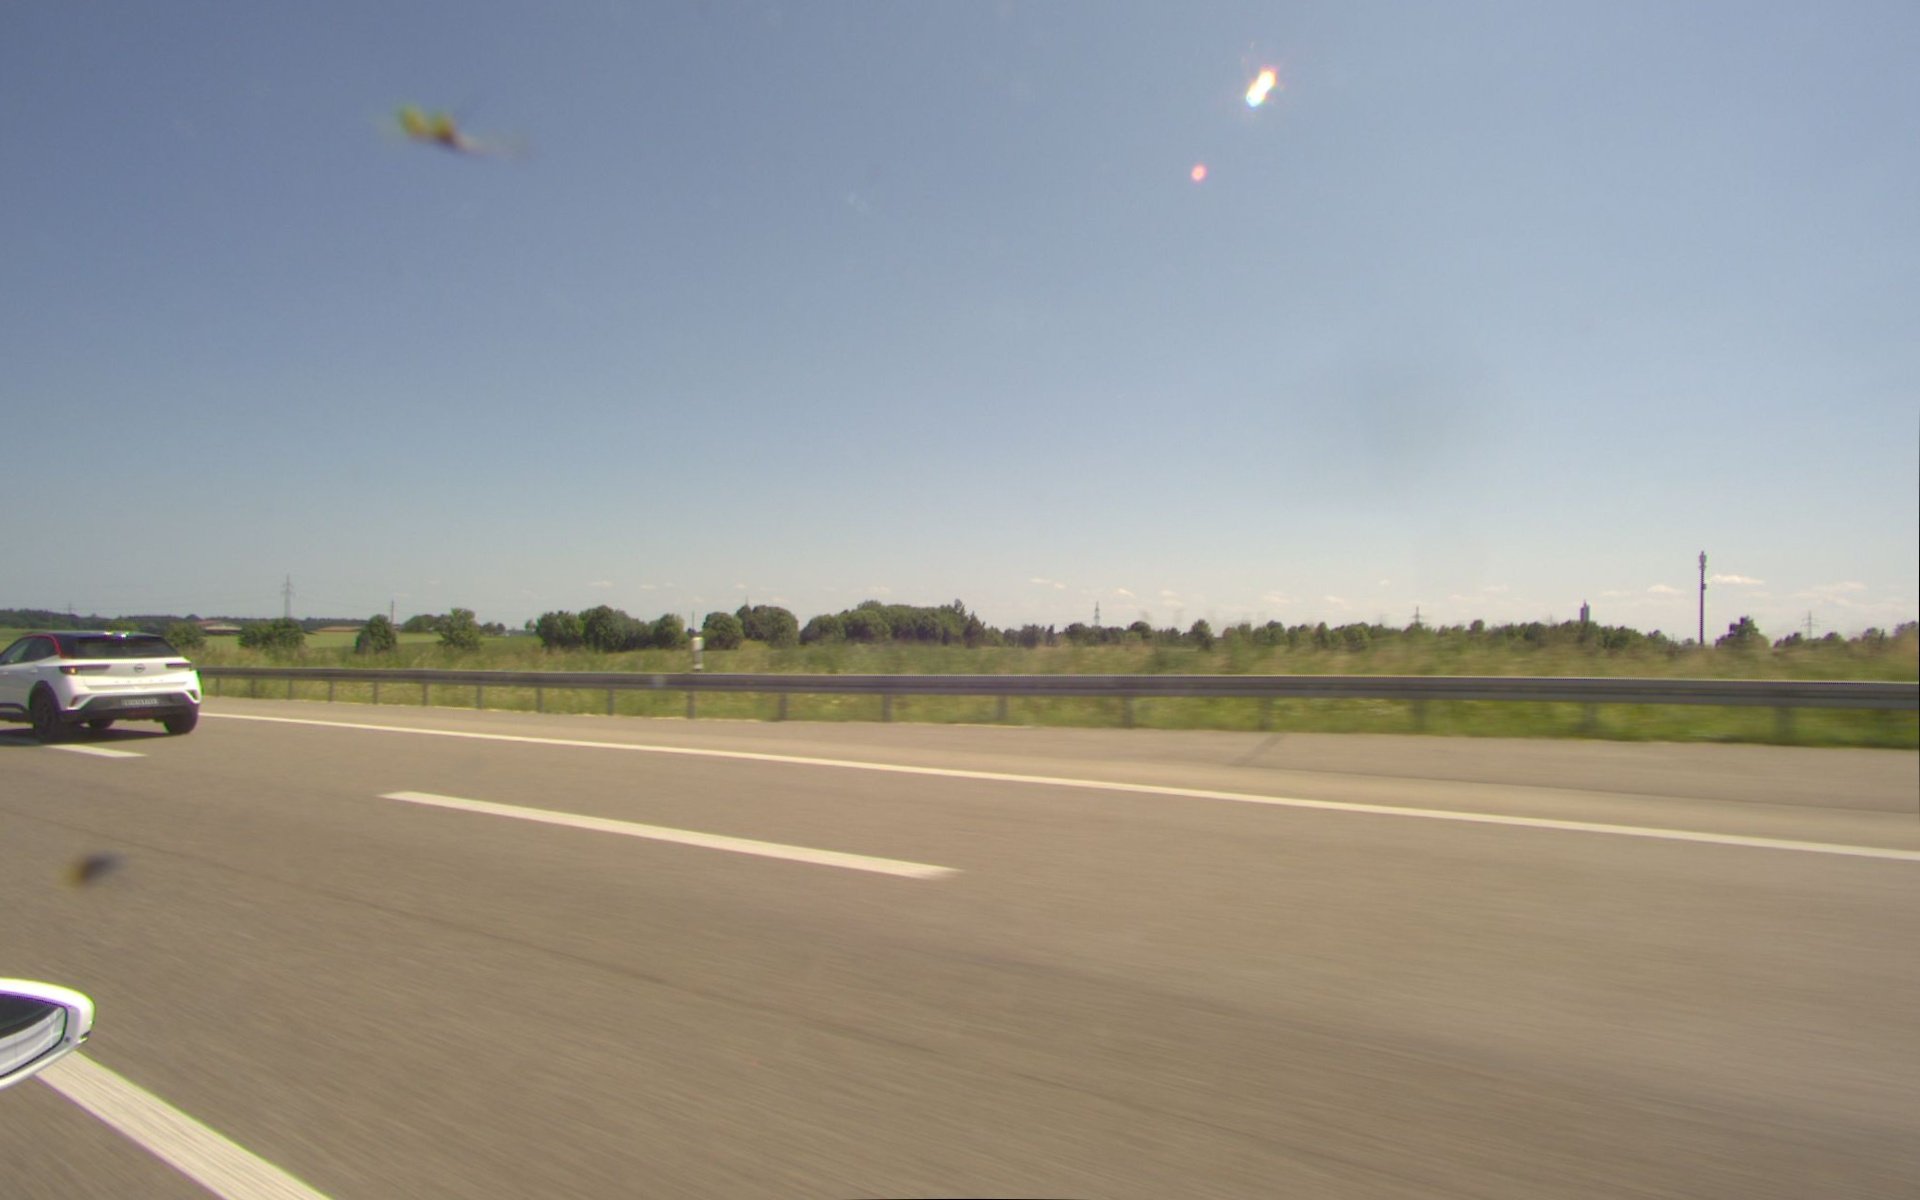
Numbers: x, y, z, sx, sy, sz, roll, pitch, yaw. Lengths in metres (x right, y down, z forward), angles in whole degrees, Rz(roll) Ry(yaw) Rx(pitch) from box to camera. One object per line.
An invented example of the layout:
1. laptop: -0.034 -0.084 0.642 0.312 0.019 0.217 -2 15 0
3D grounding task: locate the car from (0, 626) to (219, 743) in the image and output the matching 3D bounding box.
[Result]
1. car: -13.297 1.168 15.143 4.198 1.549 1.889 -1 -1 30
